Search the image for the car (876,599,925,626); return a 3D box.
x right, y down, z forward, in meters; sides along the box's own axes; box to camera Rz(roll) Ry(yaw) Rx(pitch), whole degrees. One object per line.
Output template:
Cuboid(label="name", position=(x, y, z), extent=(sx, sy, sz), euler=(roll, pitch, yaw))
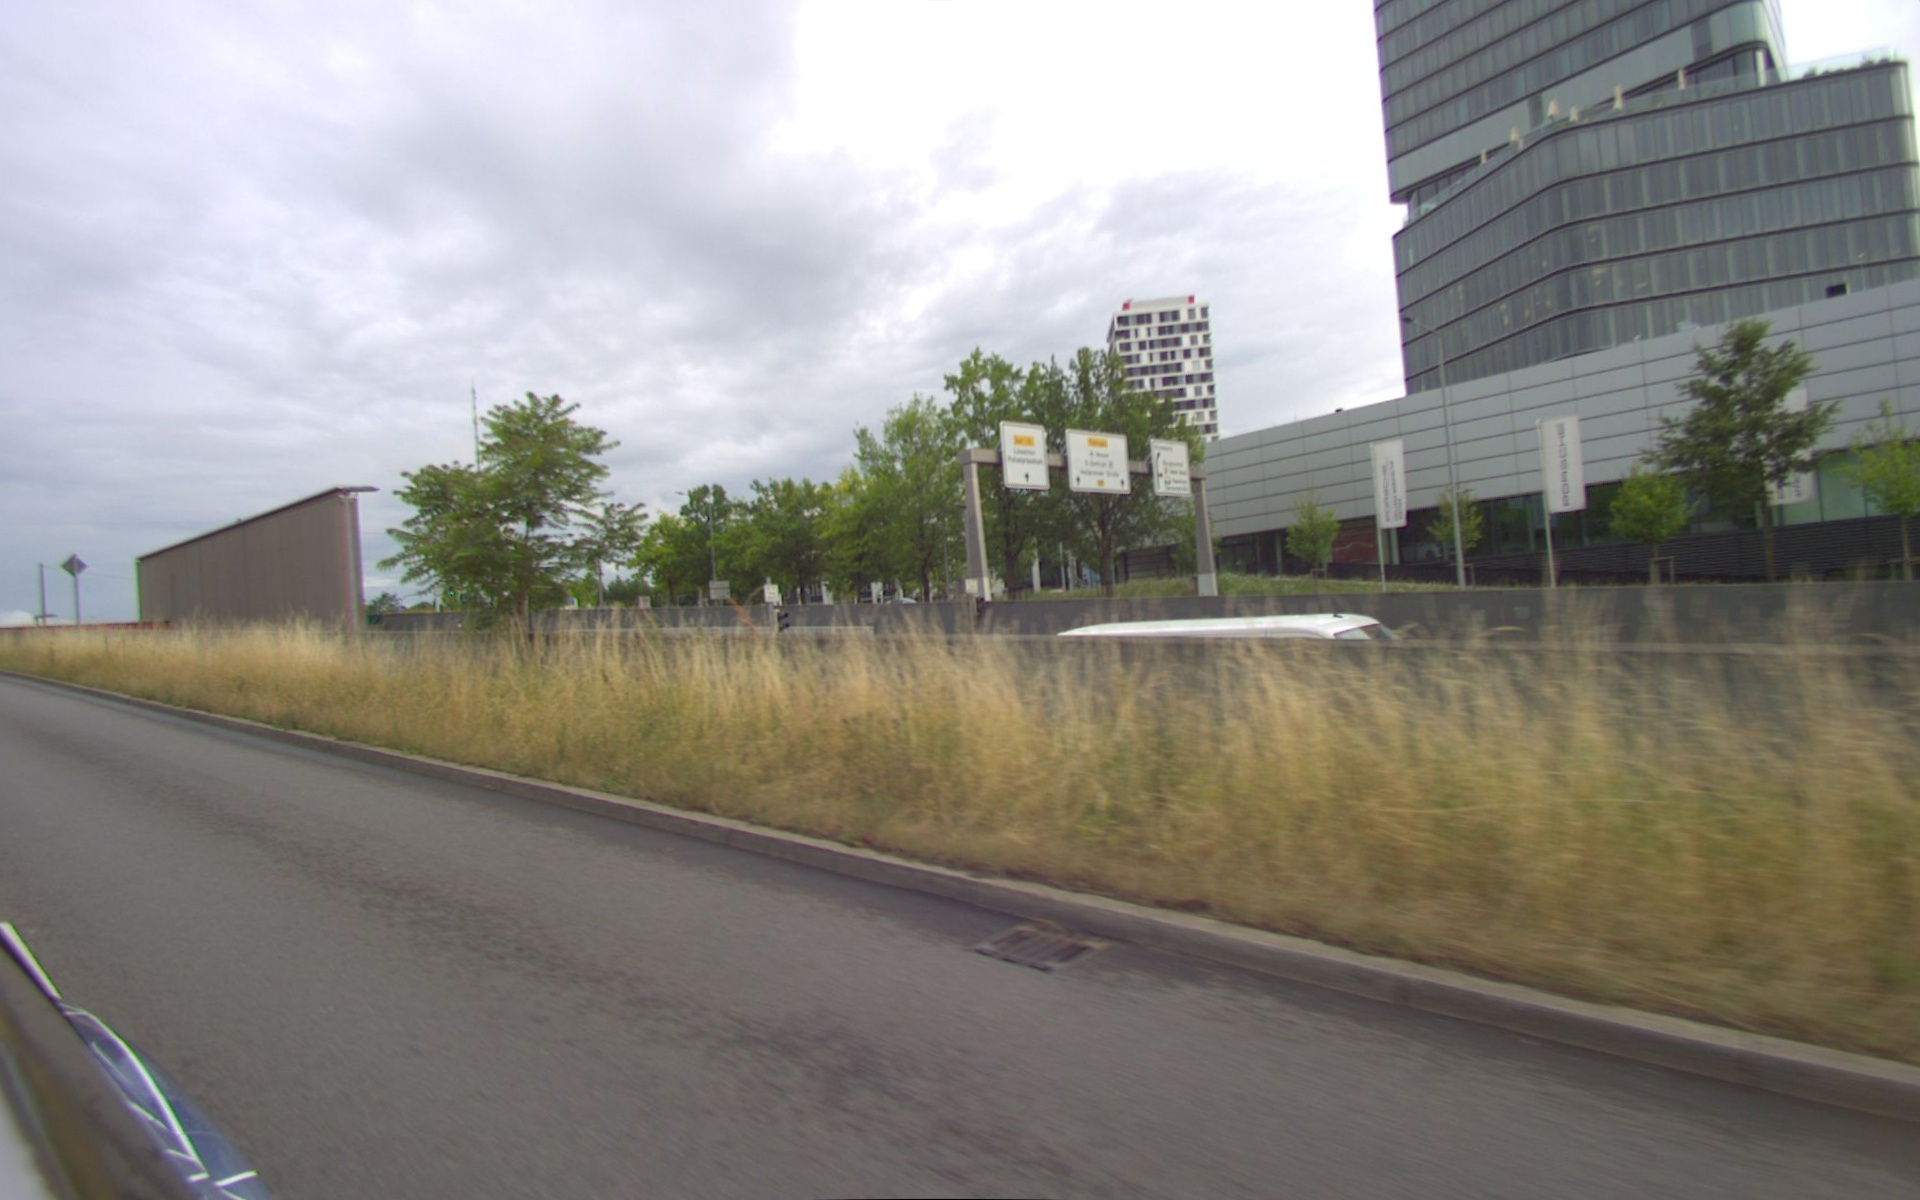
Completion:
Cuboid(label="car", position=(-5.533, 1.131, 93.465), extent=(3.992, 2.028, 1.976), euler=(-7, -1, 36))

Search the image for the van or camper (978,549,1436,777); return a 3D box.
Cuboid(label="van or camper", position=(3.086, 0.722, 13.571), extent=(5.528, 2.457, 2.181), euler=(-2, 0, 41))

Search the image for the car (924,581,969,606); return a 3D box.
Cuboid(label="car", position=(-1.349, -0.629, 101.674), extent=(3.993, 2.028, 1.976), euler=(-7, -1, 37))

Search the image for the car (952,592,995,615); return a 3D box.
Cuboid(label="car", position=(1.404, 0.376, 104.411), extent=(3.938, 1.862, 2.003), euler=(-7, -1, -8))
